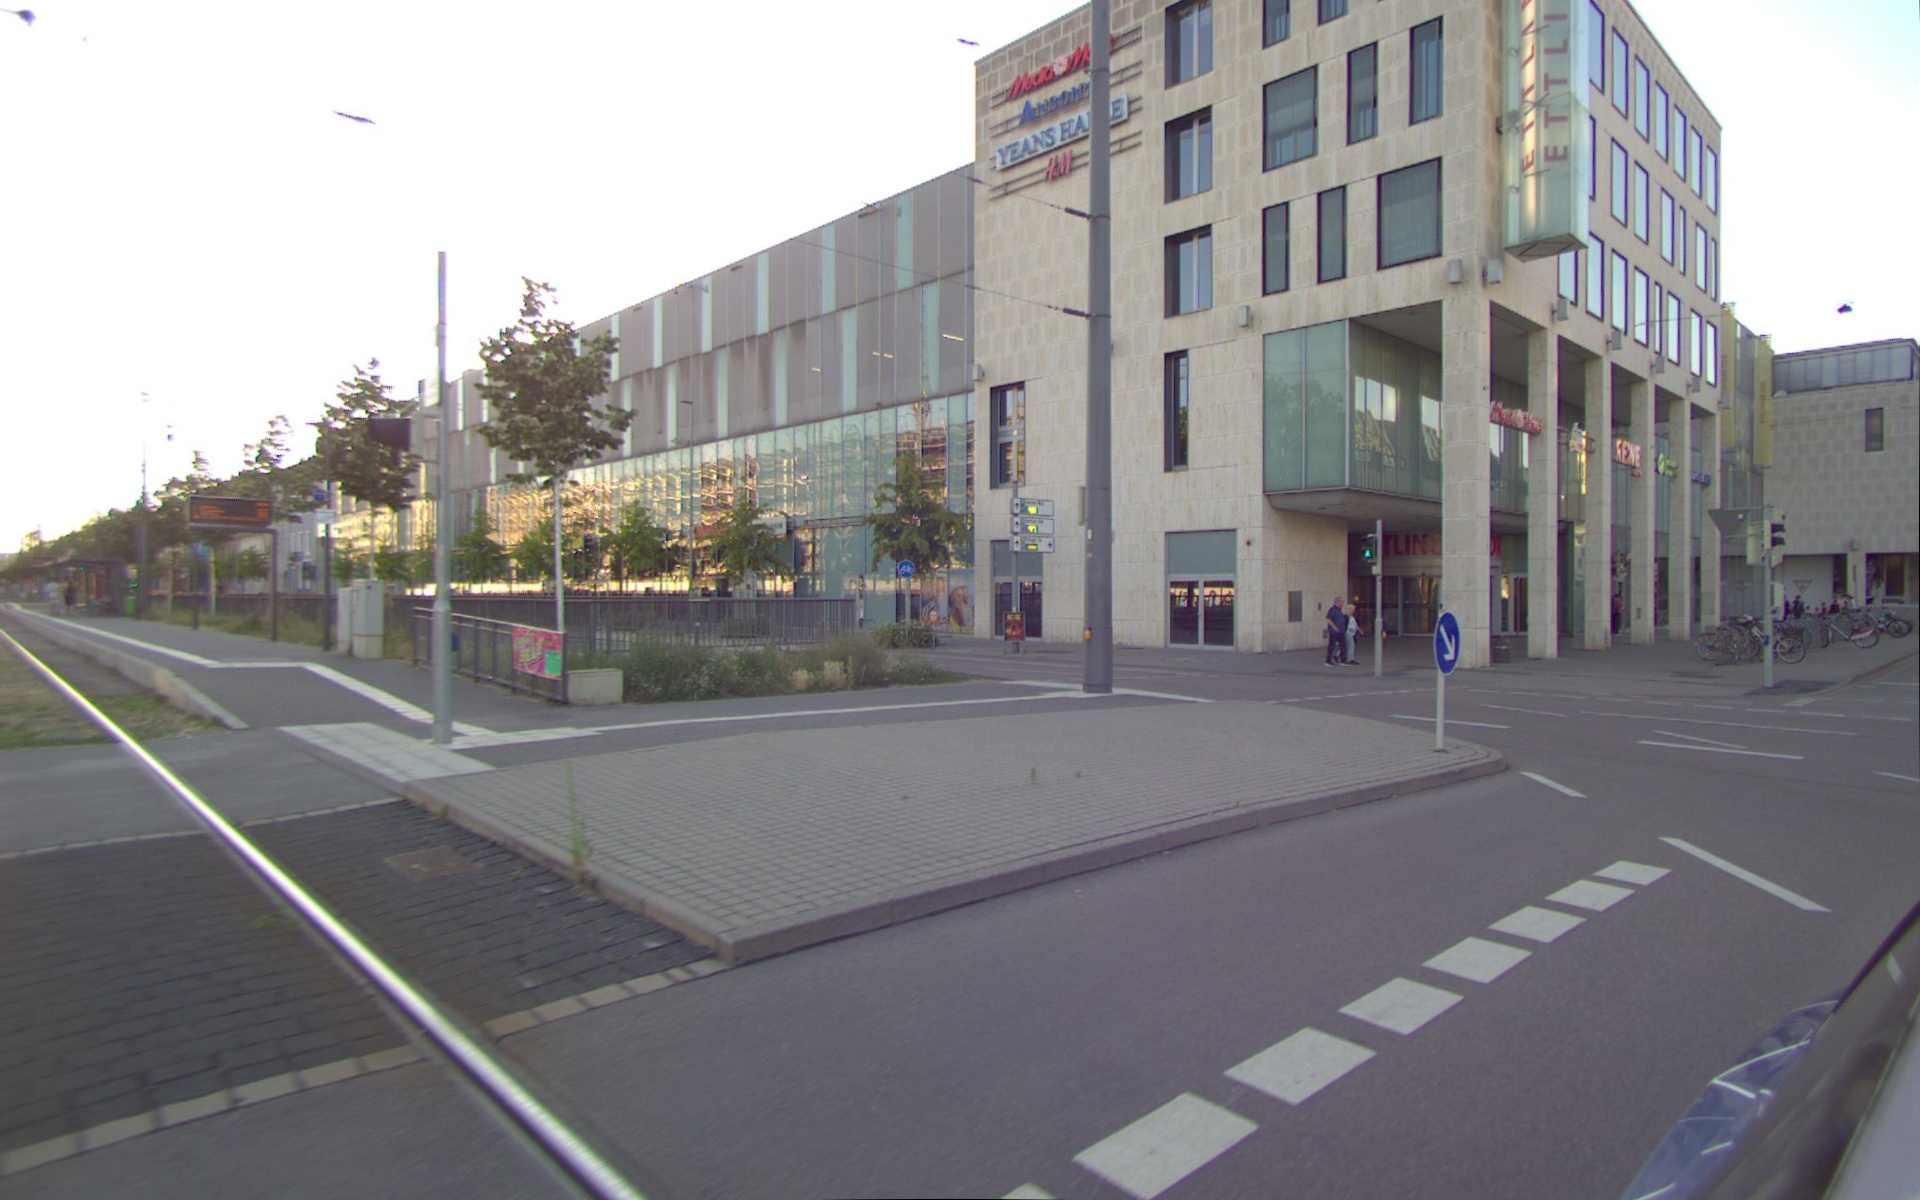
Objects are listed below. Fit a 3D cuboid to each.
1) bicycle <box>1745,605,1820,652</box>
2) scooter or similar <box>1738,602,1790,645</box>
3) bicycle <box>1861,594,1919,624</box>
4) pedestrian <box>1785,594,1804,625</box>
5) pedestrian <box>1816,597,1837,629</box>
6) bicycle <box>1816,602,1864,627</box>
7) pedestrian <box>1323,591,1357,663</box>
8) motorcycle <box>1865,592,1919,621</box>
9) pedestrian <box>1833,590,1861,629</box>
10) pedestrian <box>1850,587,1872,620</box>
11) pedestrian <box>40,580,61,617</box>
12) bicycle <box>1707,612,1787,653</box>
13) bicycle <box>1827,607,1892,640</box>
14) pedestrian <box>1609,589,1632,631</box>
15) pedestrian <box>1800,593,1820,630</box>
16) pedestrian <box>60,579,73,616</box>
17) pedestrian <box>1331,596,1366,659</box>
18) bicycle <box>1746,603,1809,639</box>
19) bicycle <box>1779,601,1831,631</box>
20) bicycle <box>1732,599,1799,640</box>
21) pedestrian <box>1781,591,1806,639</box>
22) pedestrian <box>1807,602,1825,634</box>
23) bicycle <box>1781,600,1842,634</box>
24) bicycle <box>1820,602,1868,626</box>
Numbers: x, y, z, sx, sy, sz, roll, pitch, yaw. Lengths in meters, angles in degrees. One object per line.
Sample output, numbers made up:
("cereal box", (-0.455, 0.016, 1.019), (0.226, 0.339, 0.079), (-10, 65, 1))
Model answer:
("bicycle", (22.227, 0.757, 27.375), (0.538, 1.198, 1.484), (0, 1, -36))
("scooter or similar", (24.080, 0.694, 30.320), (1.194, 1.214, 0.485), (1, 1, 44))
("bicycle", (37.914, 0.379, 41.129), (0.458, 1.161, 1.836), (0, -2, -41))
("pedestrian", (45.879, 0.523, 55.647), (0.738, 1.668, 0.807), (0, 1, 44))
("pedestrian", (48.115, 0.728, 56.206), (0.645, 1.765, 0.793), (-1, 1, -39))
("bicycle", (34.334, 0.560, 39.504), (0.509, 0.944, 1.343), (0, -2, -43))
("pedestrian", (9.478, 0.657, 25.227), (0.664, 1.747, 0.582), (0, 0, 37))
("motorcycle", (41.831, 0.271, 45.247), (0.473, 1.239, 2.002), (-1, 1, -44))
("pedestrian", (38.754, 0.392, 44.206), (0.801, 1.663, 0.640), (0, 1, 30))
("pedestrian", (49.151, 0.169, 55.196), (0.925, 1.765, 0.793), (-1, 1, -39))
("pedestrian", (-41.988, -0.083, 46.733), (0.654, 1.690, 0.576), (-1, 0, -36))
("bicycle", (22.159, 0.898, 28.525), (1.767, 1.092, 0.475), (1, 1, 41))
("bicycle", (29.703, 0.785, 33.425), (0.458, 1.077, 1.517), (0, -2, -41))
("pedestrian", (26.937, 0.387, 41.293), (0.696, 1.672, 0.628), (-1, 1, -41))
("pedestrian", (42.274, 0.552, 50.348), (0.798, 1.803, 0.619), (-1, 1, -40))
("pedestrian", (-41.482, -0.109, 46.979), (0.394, 1.690, 0.449), (0, 0, -36))
("pedestrian", (9.929, 0.693, 25.854), (0.664, 1.565, 0.716), (0, 1, 36))
("bicycle", (26.468, 0.680, 32.774), (0.543, 1.120, 1.515), (0, -2, -44))
("bicycle", (31.443, 0.590, 37.677), (1.438, 1.078, 0.572), (-3, -2, 38))
("bicycle", (25.258, 0.631, 31.741), (0.607, 1.243, 1.516), (0, -2, -42))
("pedestrian", (30.426, 0.525, 36.943), (0.705, 1.713, 0.620), (0, 1, 41))
("pedestrian", (46.521, 0.953, 55.014), (0.696, 1.717, 0.807), (0, 1, 44))
("bicycle", (29.858, 0.601, 35.497), (0.570, 1.138, 1.518), (-1, -2, -38))
("bicycle", (34.835, 0.557, 39.895), (0.509, 0.944, 1.343), (0, -2, -43))
